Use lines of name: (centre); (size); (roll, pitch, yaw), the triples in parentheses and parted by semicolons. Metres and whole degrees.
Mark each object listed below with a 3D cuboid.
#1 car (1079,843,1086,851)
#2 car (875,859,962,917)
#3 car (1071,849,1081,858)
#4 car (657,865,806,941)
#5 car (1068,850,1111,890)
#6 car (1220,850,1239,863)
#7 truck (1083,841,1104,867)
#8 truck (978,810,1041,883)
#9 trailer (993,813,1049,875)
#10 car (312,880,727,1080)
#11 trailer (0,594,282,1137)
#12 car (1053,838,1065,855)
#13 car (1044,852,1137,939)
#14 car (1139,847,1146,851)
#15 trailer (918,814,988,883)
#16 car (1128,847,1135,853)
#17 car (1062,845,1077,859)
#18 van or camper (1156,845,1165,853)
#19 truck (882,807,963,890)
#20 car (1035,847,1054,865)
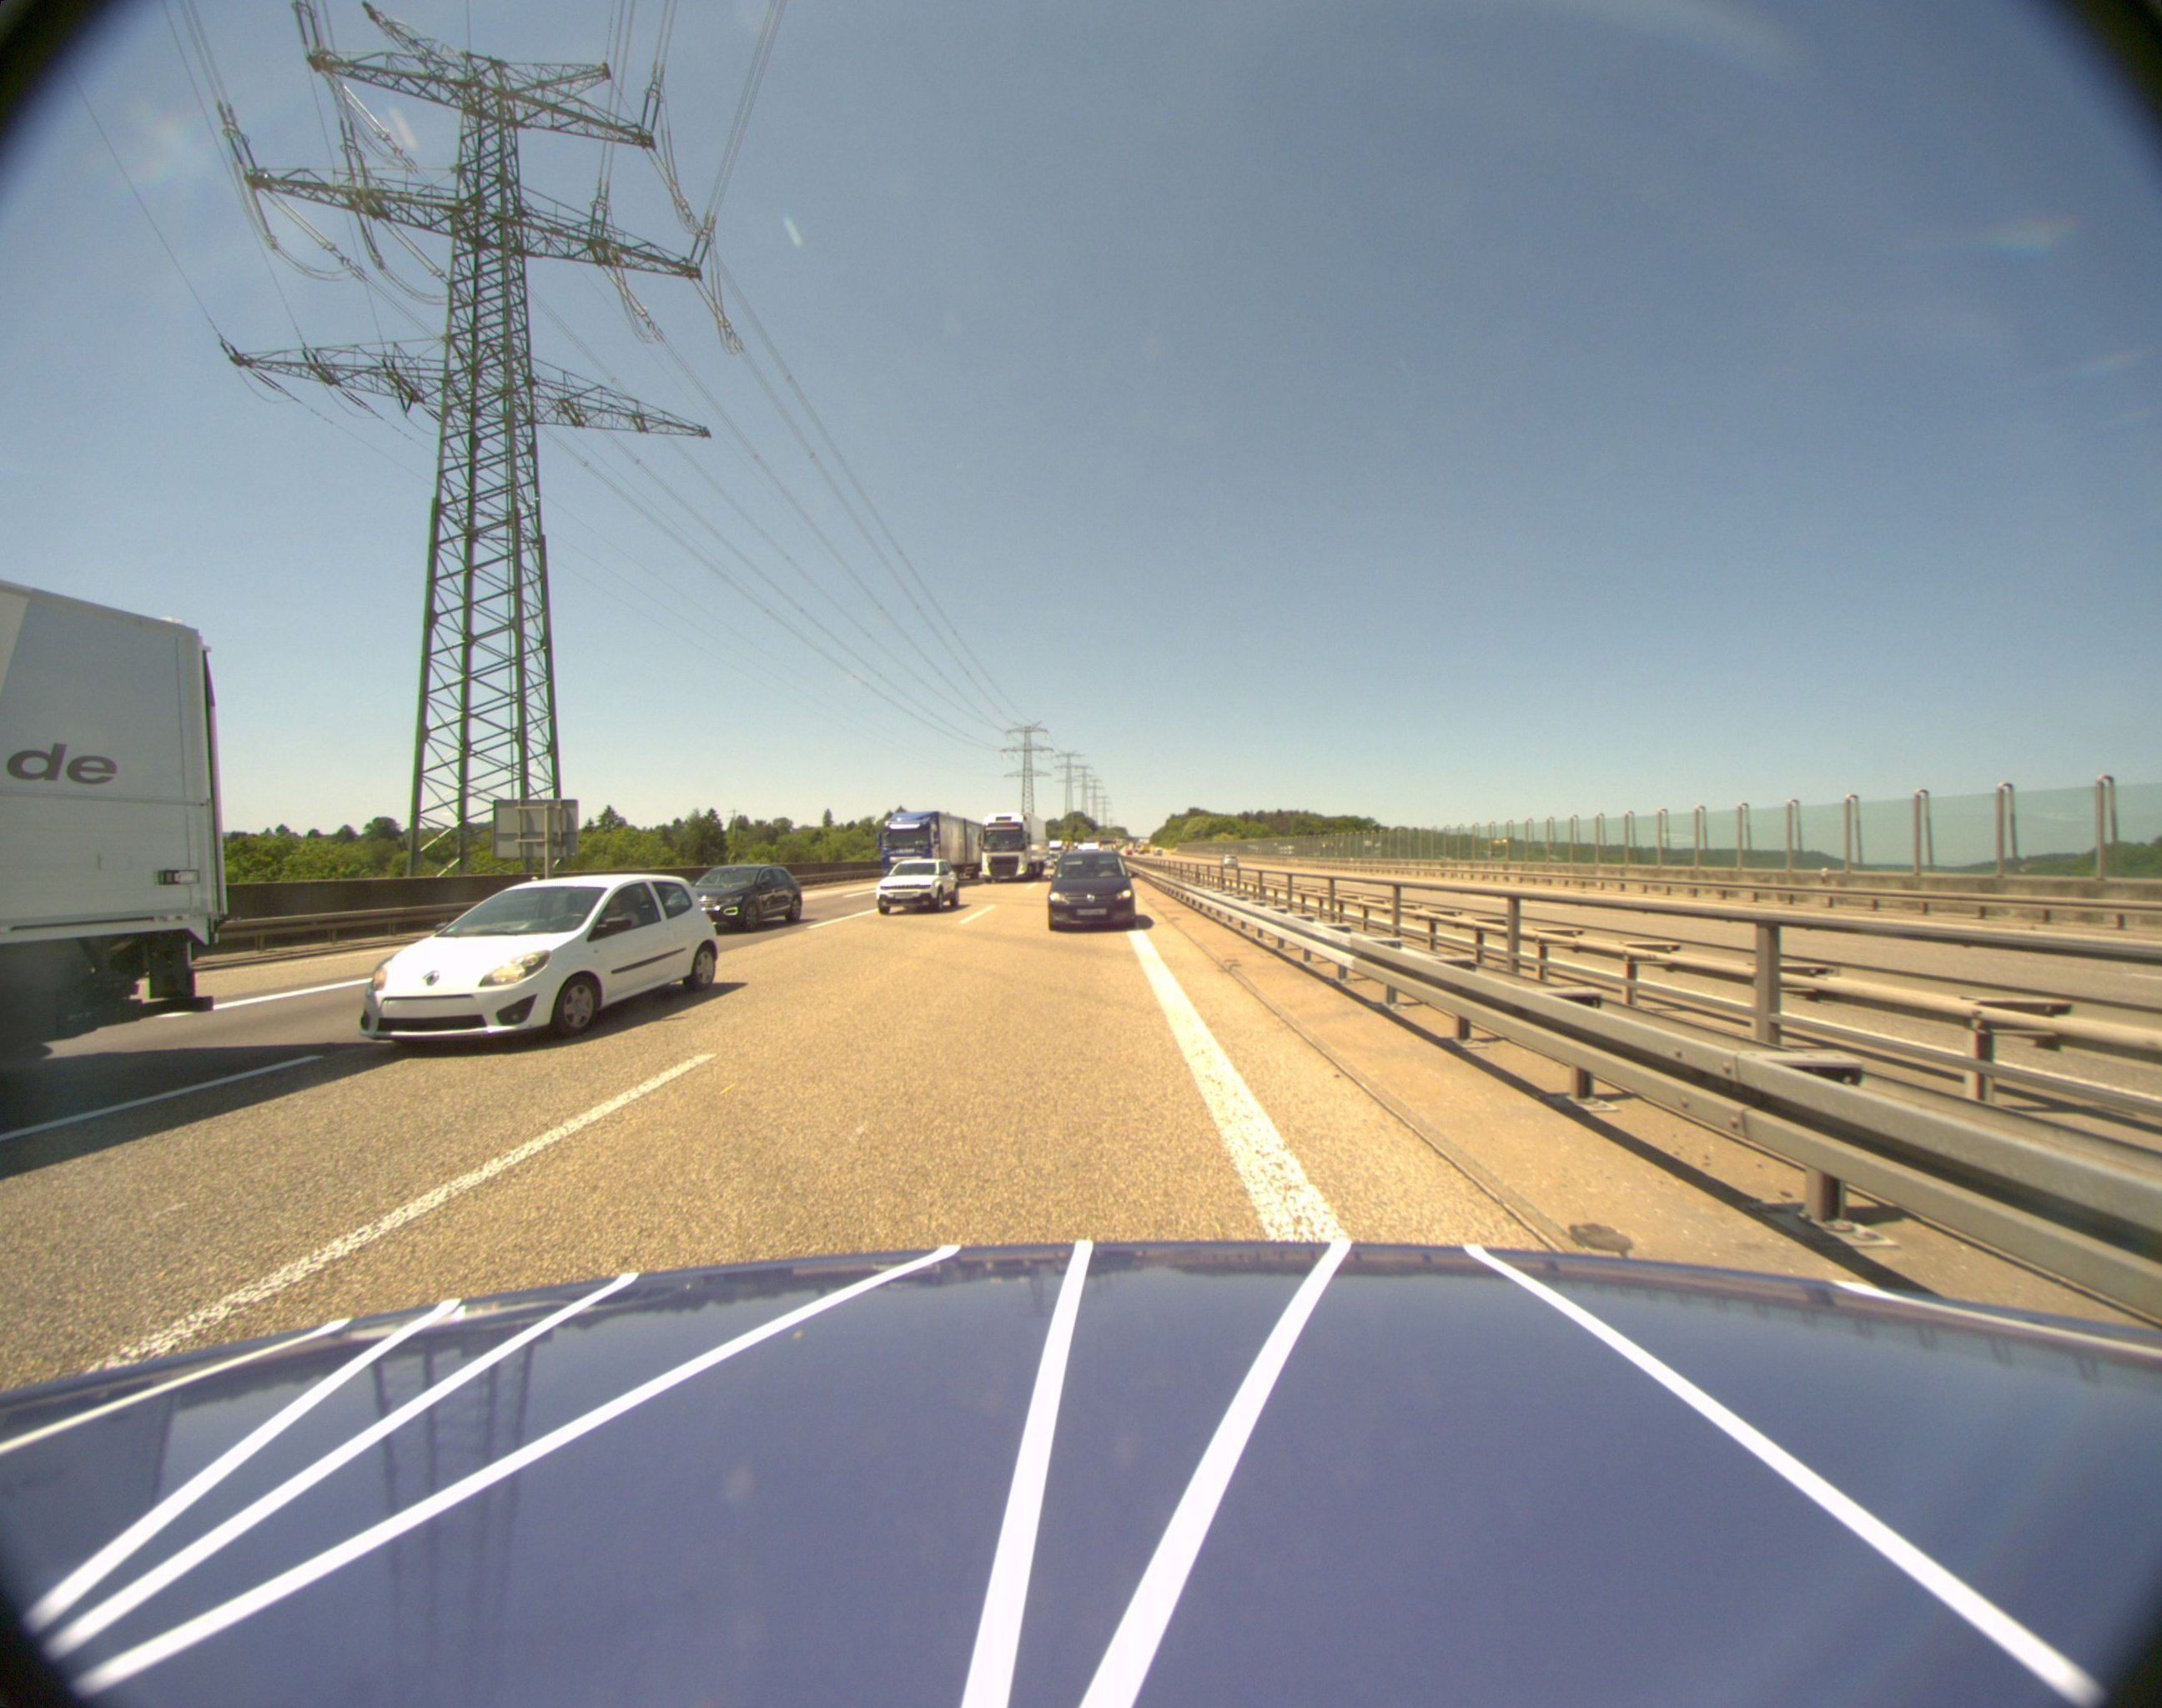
car: (0.402, -2.006, 213.550); (1.890, 2.002, 3.999); (-2, 1, 1)
car: (-4.774, 0.948, 22.796); (1.722, 1.526, 3.753); (-2, 0, 0)
car: (-0.996, -0.061, 149.722); (1.701, 1.599, 3.639); (-2, 1, 1)
car: (-8.237, 1.084, 18.318); (1.709, 1.497, 3.888); (-2, 0, 1)
car: (0.359, 0.661, 33.044); (1.685, 1.607, 3.642); (-2, 0, 0)
car: (17.813, 0.273, 91.062); (1.608, 1.386, 3.676); (1, 1, 1)
truck: (1.410, -0.015, 84.116); (2.100, 2.700, 5.864); (-2, 1, 1)
truck: (-4.106, -0.445, 45.061); (2.914, 3.870, 6.739); (-2, 1, 0)
trailer: (-4.036, -0.725, 53.324); (2.898, 3.847, 9.773); (-2, 1, 1)
car: (-5.390, 1.084, 7.971); (1.583, 1.432, 3.629); (-2, 0, 1)
trailer: (-8.573, 0.121, 2.510); (2.851, 3.573, 8.291); (-2, 0, 1)
car: (-4.654, -1.583, 160.882); (2.273, 3.303, 6.288); (-2, 1, 0)
car: (0.196, 0.790, 16.464); (1.739, 1.607, 3.911); (-2, 0, 0)
car: (19.742, -1.539, 244.306); (1.805, 1.378, 4.263); (0, 1, 1)
trailer: (-8.202, -0.427, 50.332); (2.543, 3.971, 10.884); (-2, 1, 1)
car: (14.654, -1.166, 222.126); (1.846, 1.438, 4.418); (-2, 1, 1)
car: (-1.754, -0.360, 116.639); (1.998, 2.002, 4.000); (-2, 1, 1)
van or camper: (22.823, -1.560, 218.568); (1.998, 2.199, 5.536); (1, 1, 0)
truck: (-8.306, -0.274, 40.906); (2.517, 3.945, 7.927); (-2, 0, 0)
car: (-3.871, 0.200, 81.535); (1.672, 1.761, 3.846); (-2, 1, 1)
